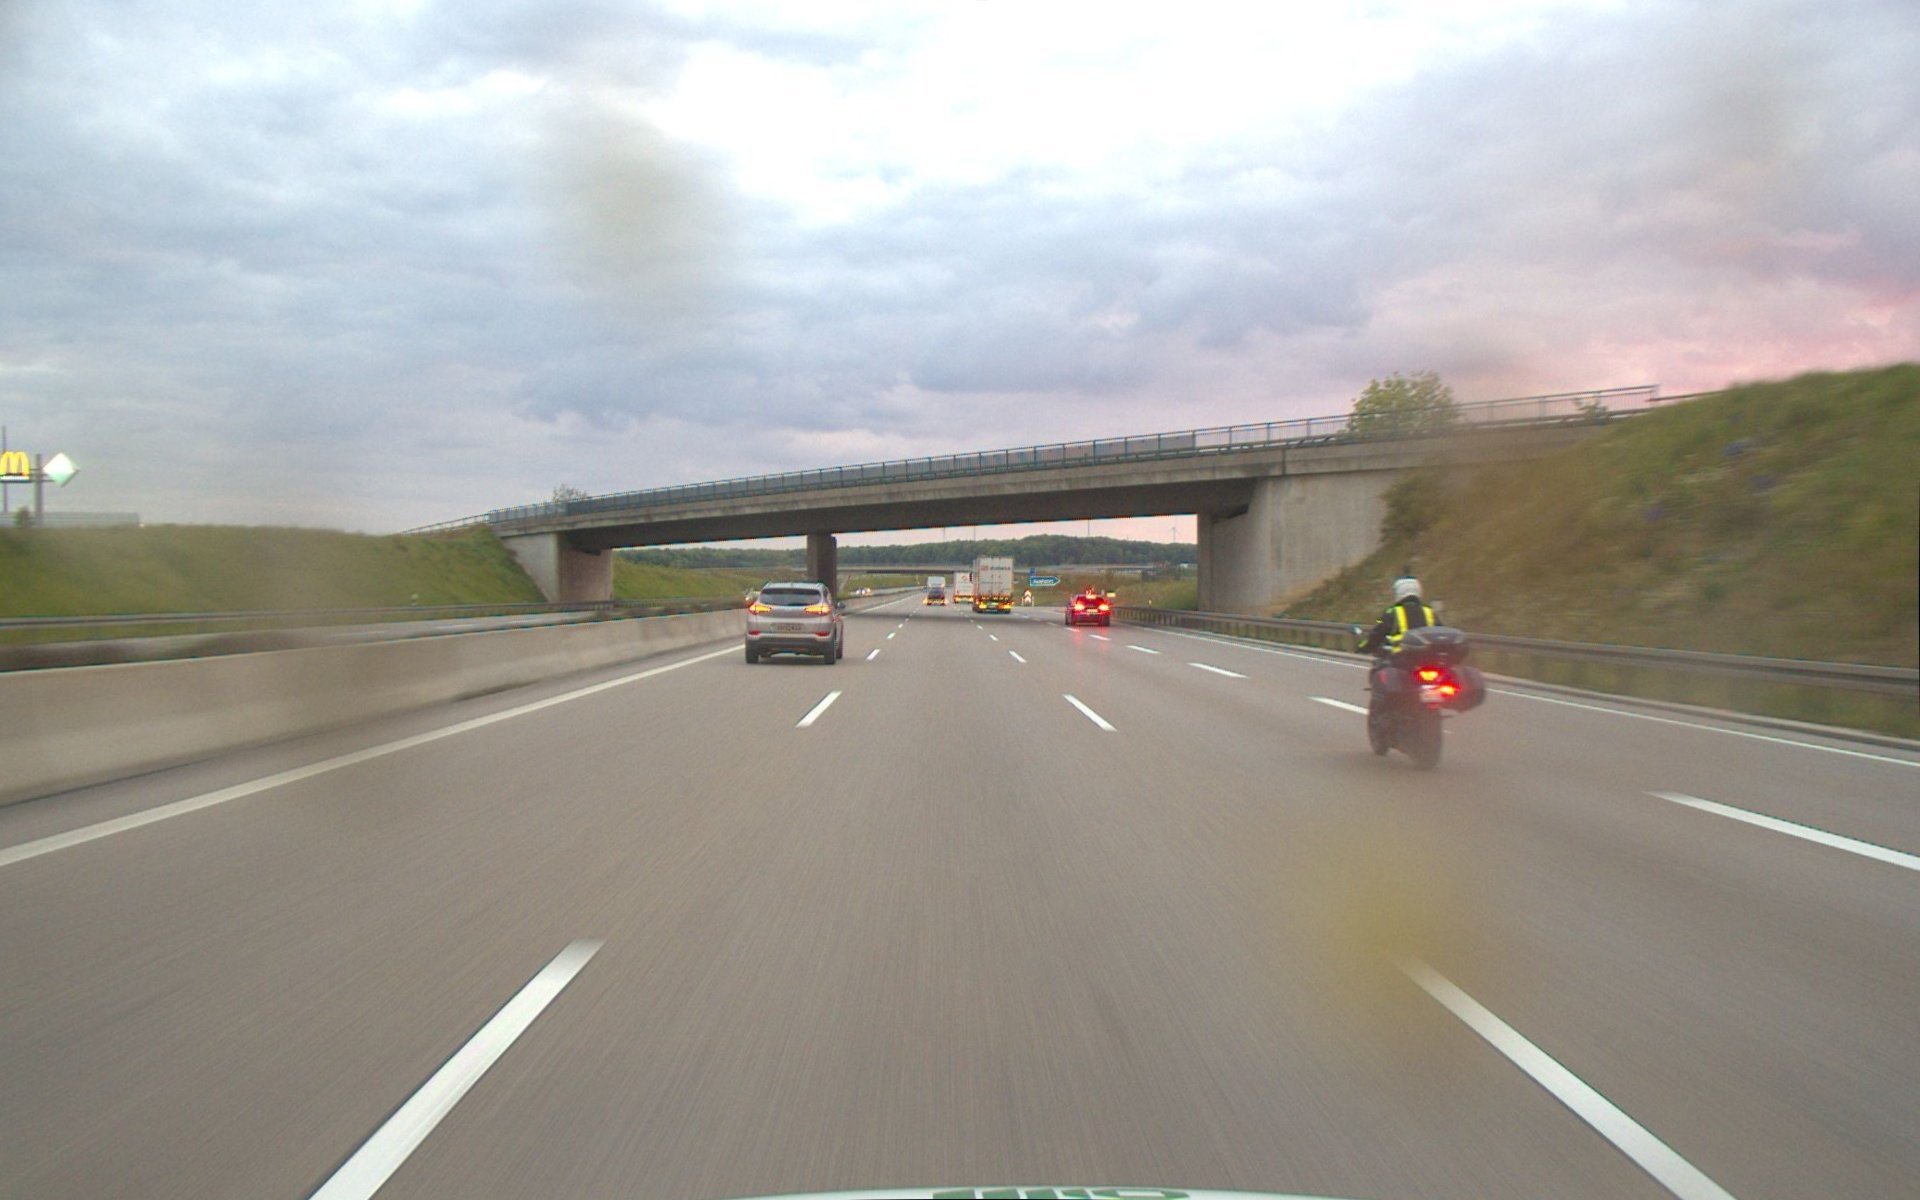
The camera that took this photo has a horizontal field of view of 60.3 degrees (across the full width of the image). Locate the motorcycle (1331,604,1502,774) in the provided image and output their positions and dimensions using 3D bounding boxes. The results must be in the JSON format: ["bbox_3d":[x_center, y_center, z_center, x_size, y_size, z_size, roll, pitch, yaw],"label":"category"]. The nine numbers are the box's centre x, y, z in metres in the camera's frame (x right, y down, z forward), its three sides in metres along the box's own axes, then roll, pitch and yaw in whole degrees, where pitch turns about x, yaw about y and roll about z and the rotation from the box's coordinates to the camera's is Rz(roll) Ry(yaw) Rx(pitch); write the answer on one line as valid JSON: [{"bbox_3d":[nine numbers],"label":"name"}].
[{"bbox_3d":[4.092,0.751,15.040,0.883,1.370,2.348,0,1,0],"label":"motorcycle"}]

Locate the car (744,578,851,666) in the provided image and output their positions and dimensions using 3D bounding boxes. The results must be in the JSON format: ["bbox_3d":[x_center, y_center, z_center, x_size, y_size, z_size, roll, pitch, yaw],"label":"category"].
[{"bbox_3d":[-3.392,0.424,35.381,1.815,1.722,5.511,0,0,-1],"label":"car"}]

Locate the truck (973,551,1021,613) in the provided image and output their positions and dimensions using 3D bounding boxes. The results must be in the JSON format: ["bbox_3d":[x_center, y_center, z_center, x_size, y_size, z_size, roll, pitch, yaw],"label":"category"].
[{"bbox_3d":[2.651,-1.319,121.423,3.168,4.301,9.598,1,1,0],"label":"truck"}]

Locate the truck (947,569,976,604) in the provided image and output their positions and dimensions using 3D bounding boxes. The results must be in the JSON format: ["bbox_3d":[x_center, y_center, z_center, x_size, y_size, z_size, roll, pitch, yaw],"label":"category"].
[{"bbox_3d":[0.167,-1.748,216.640,3.454,4.421,8.404,1,1,-1],"label":"truck"}]

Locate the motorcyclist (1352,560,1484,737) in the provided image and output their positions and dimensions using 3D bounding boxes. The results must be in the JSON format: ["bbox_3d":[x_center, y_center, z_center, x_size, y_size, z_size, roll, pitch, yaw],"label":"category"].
[{"bbox_3d":[4.098,0.412,14.880,0.848,1.513,1.168,1,1,1],"label":"motorcyclist"}]

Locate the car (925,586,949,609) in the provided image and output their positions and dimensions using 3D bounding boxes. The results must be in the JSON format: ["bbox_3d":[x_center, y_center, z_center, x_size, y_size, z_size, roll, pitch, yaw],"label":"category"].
[{"bbox_3d":[-2.466,-0.315,175.713,2.466,2.433,6.494,0,0,-2],"label":"car"}]

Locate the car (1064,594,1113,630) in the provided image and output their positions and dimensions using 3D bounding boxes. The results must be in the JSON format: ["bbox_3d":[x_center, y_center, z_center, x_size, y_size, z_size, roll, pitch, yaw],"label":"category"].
[{"bbox_3d":[6.037,0.537,78.003,1.879,1.607,3.999,0,0,-2],"label":"car"}]

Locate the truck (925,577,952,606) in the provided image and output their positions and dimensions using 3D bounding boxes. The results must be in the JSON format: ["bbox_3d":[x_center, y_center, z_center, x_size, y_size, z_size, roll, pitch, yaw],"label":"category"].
[{"bbox_3d":[-2.519,-1.047,192.127,2.892,3.273,8.404,1,1,-1],"label":"truck"}]
